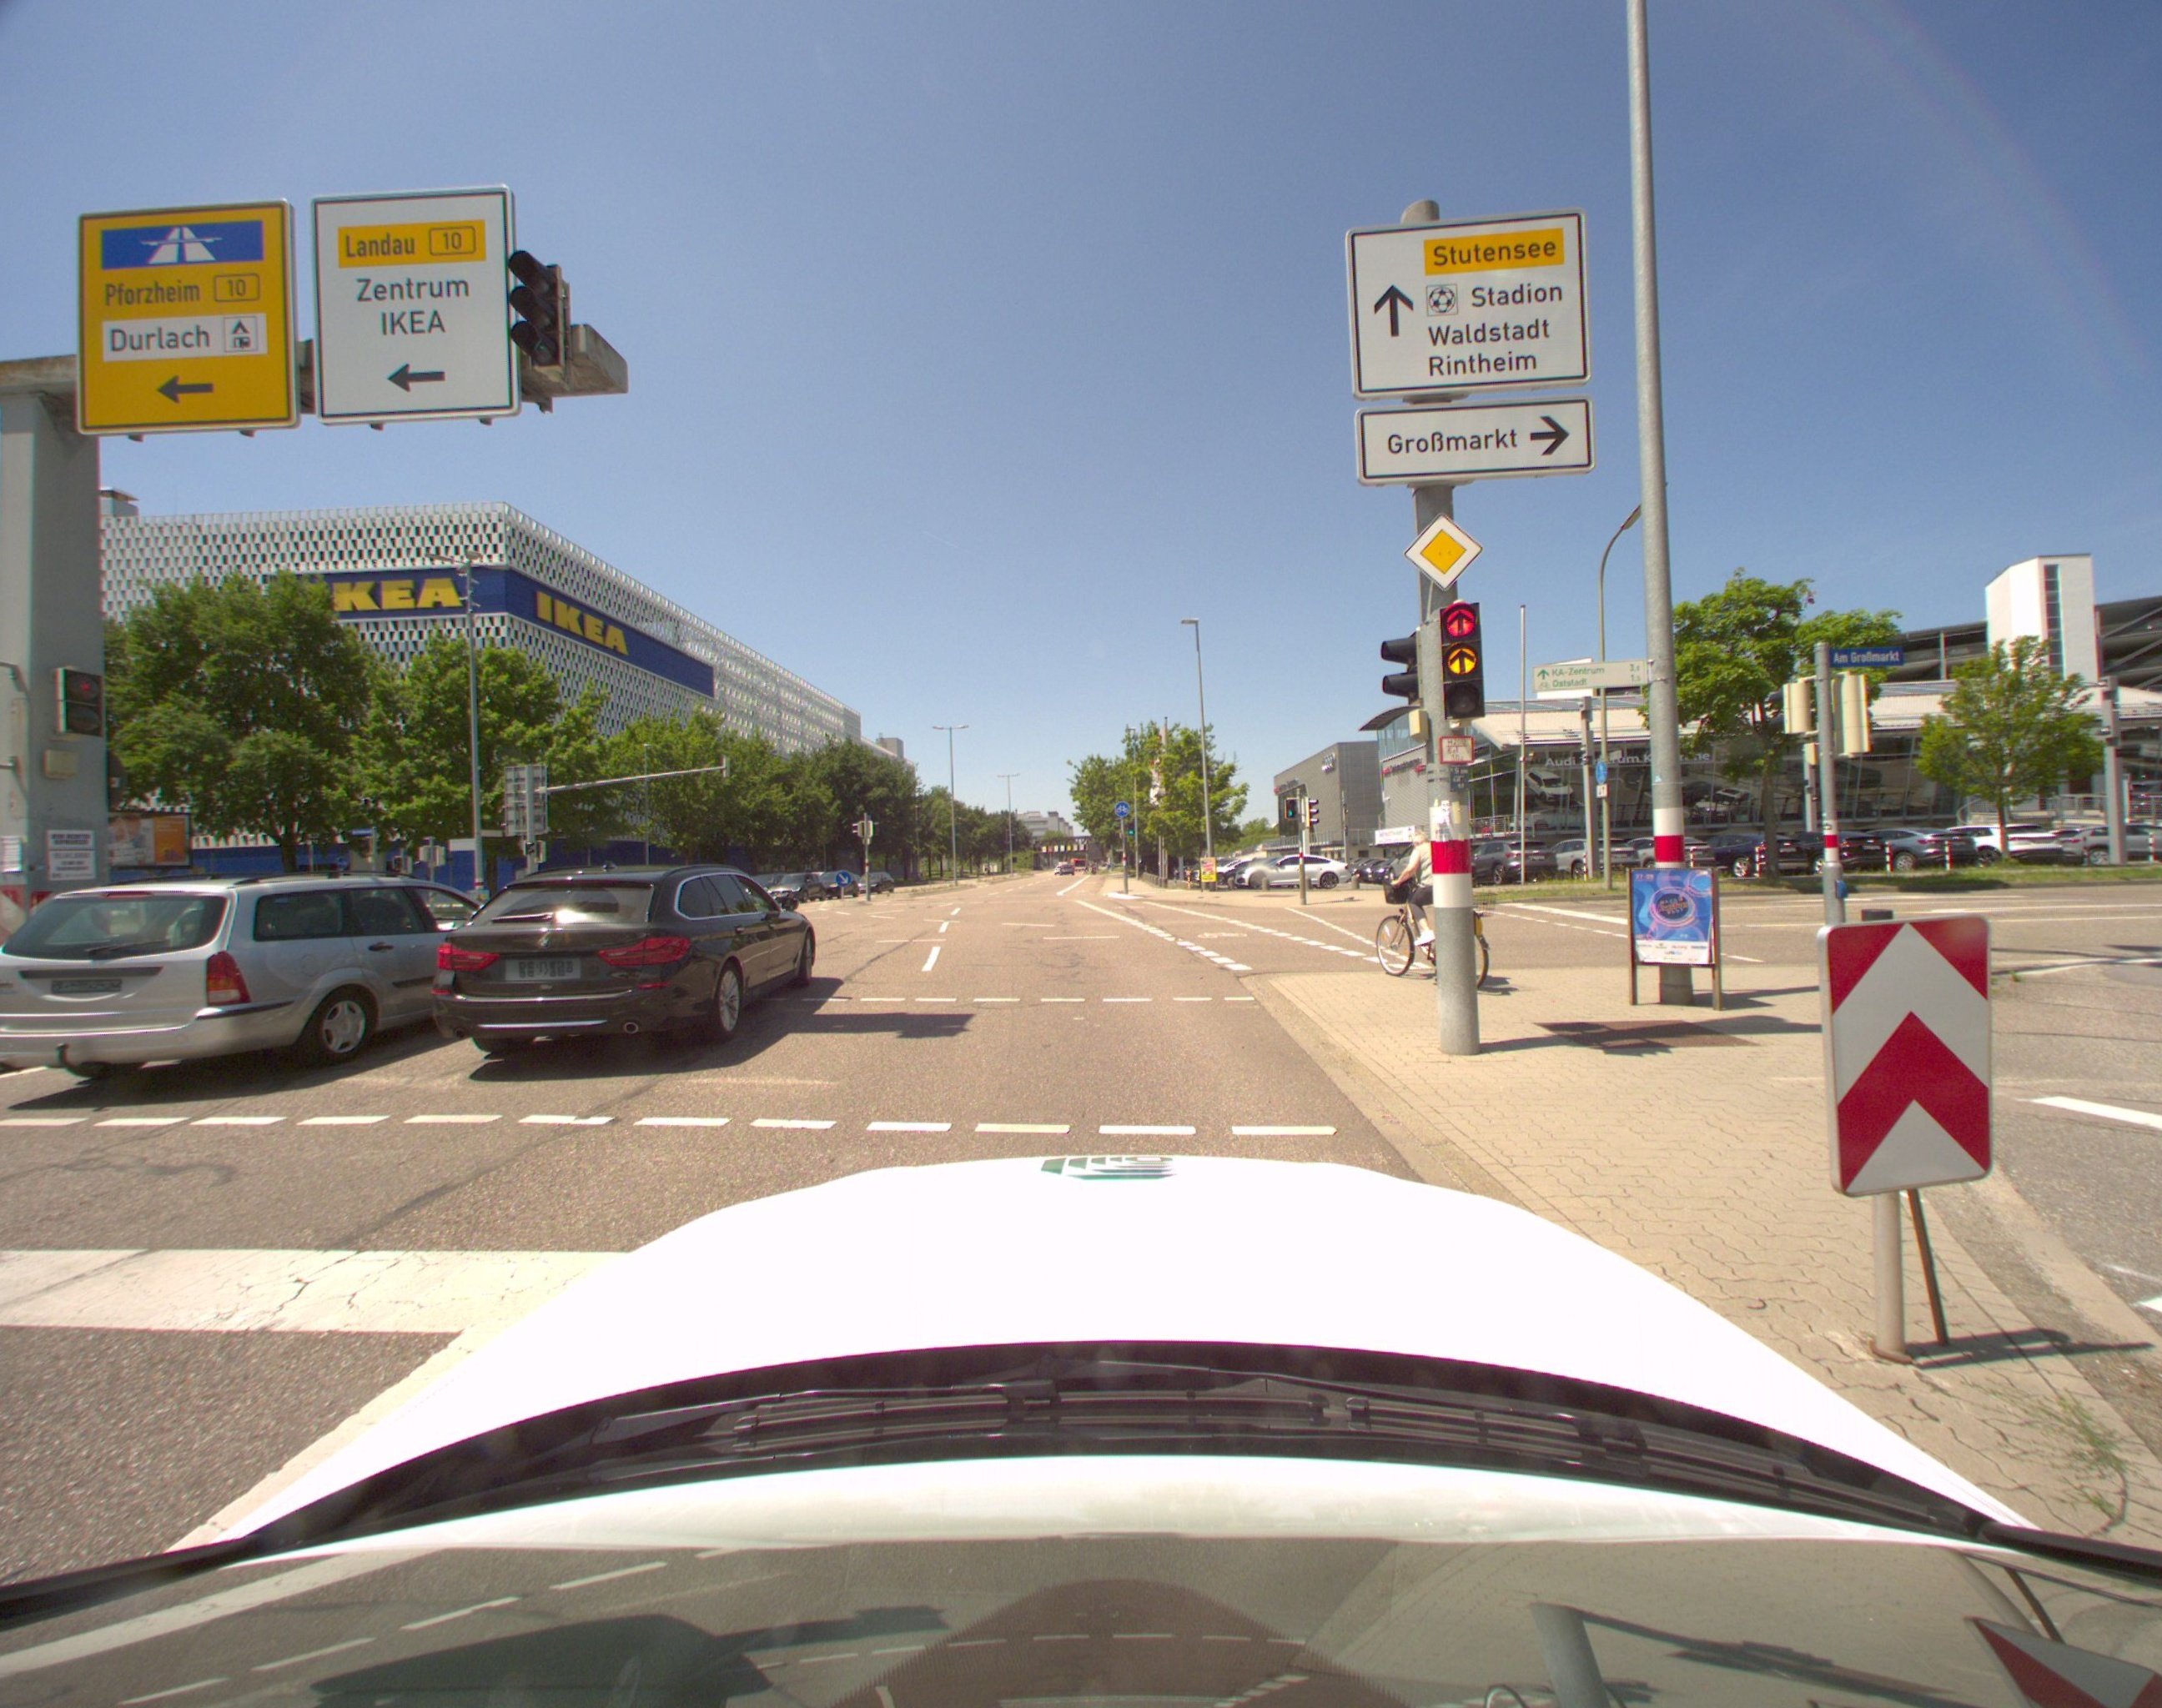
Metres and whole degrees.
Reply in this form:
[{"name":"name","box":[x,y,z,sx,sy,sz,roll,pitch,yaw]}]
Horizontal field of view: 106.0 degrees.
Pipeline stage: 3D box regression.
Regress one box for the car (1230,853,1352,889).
[{"name":"car","box":[8.468,0.692,33.199,4.572,1.390,1.871,0,-1,3]}]

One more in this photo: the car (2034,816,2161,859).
[{"name":"car","box":[39.518,-0.638,30.502,4.531,1.471,1.925,-3,-1,26]}]

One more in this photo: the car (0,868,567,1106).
[{"name":"car","box":[-6.612,0.882,7.192,1.688,1.422,4.005,-1,0,-2]}]

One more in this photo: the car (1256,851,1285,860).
[{"name":"car","box":[27.022,0.199,116.081,3.716,1.130,1.682,0,-1,-3]}]

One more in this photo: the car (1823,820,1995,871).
[{"name":"car","box":[28.519,-0.246,28.251,1.840,1.654,3.994,0,-1,-2]}]

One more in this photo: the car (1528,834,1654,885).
[{"name":"car","box":[17.858,0.198,28.735,1.840,1.654,3.994,0,-1,-2]}]

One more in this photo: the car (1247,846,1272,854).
[{"name":"car","box":[27.251,-0.572,124.494,3.515,1.239,1.675,0,-1,-3]}]

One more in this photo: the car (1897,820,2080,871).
[{"name":"car","box":[31.183,-0.246,28.176,1.840,1.654,3.994,0,-1,-2]}]

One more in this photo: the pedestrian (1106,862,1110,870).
[{"name":"pedestrian","box":[4.720,2.137,143.262,0.621,1.374,0.564,-2,-1,0]}]

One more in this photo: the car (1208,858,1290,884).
[{"name":"car","box":[8.948,0.914,43.617,4.081,1.364,1.875,0,-1,1]}]

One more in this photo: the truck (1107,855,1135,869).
[{"name":"truck","box":[8.438,1.699,171.792,5.594,2.850,2.616,0,-1,-9]}]

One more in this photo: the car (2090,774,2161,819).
[{"name":"car","box":[45.753,-2.472,34.013,4.552,1.707,1.916,-2,-1,4]}]

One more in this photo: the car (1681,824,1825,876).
[{"name":"car","box":[23.126,-0.114,28.229,1.624,1.654,3.907,-1,-1,-2]}]

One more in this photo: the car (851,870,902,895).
[{"name":"car","box":[-13.281,1.802,53.086,1.718,1.446,4.725,-4,-1,4]}]

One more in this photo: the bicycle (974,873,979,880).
[{"name":"bicycle","box":[-17.504,3.837,136.458,0.635,1.134,1.970,-2,-1,1]}]

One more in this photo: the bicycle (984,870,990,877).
[{"name":"bicycle","box":[-15.964,3.298,138.246,0.737,1.125,2.433,-2,-1,-1]}]

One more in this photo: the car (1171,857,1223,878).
[{"name":"car","box":[8.532,0.998,60.228,3.668,1.453,1.834,0,-1,1]}]

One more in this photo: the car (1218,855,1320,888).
[{"name":"car","box":[8.183,0.753,35.742,4.081,1.390,1.869,0,-1,1]}]

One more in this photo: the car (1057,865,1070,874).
[{"name":"car","box":[-2.735,2.423,126.944,1.917,1.420,4.000,-2,-1,1]}]

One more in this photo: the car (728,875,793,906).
[{"name":"car","box":[-16.812,1.880,42.928,1.654,1.424,4.039,-3,-1,2]}]

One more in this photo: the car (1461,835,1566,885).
[{"name":"car","box":[15.074,0.216,28.649,1.836,1.654,4.003,0,-1,5]}]

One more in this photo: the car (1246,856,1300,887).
[{"name":"car","box":[9.315,0.827,39.829,1.855,1.420,4.667,0,-1,4]}]

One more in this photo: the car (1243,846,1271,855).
[{"name":"car","box":[27.813,-0.574,128.863,3.977,1.312,1.795,0,-1,-3]}]

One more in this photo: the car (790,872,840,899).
[{"name":"car","box":[-16.669,1.942,51.182,1.720,1.544,3.916,-3,-1,2]}]

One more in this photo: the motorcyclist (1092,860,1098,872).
[{"name":"motorcyclist","box":[1.829,1.556,106.133,0.719,1.529,0.868,0,-1,-8]}]

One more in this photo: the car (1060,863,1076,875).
[{"name":"car","box":[-1.612,1.932,105.354,1.894,1.376,4.232,-2,-1,1]}]

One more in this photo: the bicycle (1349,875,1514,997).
[{"name":"bicycle","box":[3.788,0.826,8.989,0.629,1.133,1.885,-2,0,-14]}]

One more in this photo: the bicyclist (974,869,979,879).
[{"name":"bicyclist","box":[-17.523,3.327,136.396,0.635,1.582,0.884,-2,-1,1]}]

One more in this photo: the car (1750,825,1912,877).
[{"name":"car","box":[25.827,-0.068,28.252,1.840,1.654,3.994,0,-1,-2]}]

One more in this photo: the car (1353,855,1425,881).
[{"name":"car","box":[19.517,0.875,51.629,3.967,1.573,1.634,0,-1,1]}]

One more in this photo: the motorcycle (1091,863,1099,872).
[{"name":"motorcycle","box":[1.839,1.756,106.069,0.716,1.105,1.825,0,-1,-8]}]

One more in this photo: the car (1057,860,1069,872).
[{"name":"car","box":[-3.112,2.114,142.142,1.986,2.014,4.000,-2,-1,1]}]

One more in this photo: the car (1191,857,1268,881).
[{"name":"car","box":[8.424,0.838,46.403,4.084,1.349,1.869,0,-1,1]}]

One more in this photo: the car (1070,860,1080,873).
[{"name":"car","box":[-1.501,3.036,196.516,2.065,2.854,6.765,-2,-1,1]}]

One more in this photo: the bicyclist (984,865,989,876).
[{"name":"bicyclist","box":[-15.973,2.784,138.123,0.743,1.686,0.951,-2,-1,-1]}]

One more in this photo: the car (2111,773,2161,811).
[{"name":"car","box":[53.547,-3.127,39.446,1.905,1.722,4.142,-2,0,-5]}]

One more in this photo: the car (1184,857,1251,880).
[{"name":"car","box":[8.700,0.937,52.143,4.085,1.405,1.869,0,-1,1]}]

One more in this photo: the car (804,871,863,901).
[{"name":"car","box":[-13.726,1.750,45.470,1.720,1.505,4.245,-4,-1,2]}]

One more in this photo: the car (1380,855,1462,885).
[{"name":"car","box":[19.144,0.893,46.010,3.970,1.622,1.657,0,-1,1]}]

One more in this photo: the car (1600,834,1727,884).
[{"name":"car","box":[20.212,0.145,28.460,1.632,1.616,3.815,-1,1,-2]}]

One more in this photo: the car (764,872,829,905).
[{"name":"car","box":[-13.704,1.645,39.401,1.637,1.389,3.717,-4,-1,2]}]

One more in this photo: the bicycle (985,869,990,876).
[{"name":"bicycle","box":[-16.989,3.417,147.850,0.627,1.159,2.118,-4,-1,1]}]

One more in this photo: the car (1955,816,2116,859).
[{"name":"car","box":[39.907,-0.656,34.195,3.947,1.571,1.862,-3,-1,31]}]

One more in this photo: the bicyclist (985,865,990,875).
[{"name":"bicyclist","box":[-17.029,2.914,147.735,0.631,1.629,1.045,-4,-1,1]}]

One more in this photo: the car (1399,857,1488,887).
[{"name":"car","box":[19.330,0.956,43.511,3.970,1.598,1.851,0,-1,1]}]

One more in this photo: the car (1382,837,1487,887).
[{"name":"car","box":[12.411,0.335,28.931,1.860,1.558,4.506,-3,-2,3]}]

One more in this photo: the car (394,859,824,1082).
[{"name":"car","box":[-3.905,0.803,7.810,1.795,1.440,4.547,-1,0,-6]}]

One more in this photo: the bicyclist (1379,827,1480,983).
[{"name":"bicyclist","box":[3.798,0.530,8.916,0.629,1.606,0.821,0,-1,-15]}]

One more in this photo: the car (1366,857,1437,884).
[{"name":"car","box":[19.120,0.984,48.723,3.634,1.580,1.643,0,-1,1]}]

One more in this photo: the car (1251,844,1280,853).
[{"name":"car","box":[27.341,-0.840,120.770,3.930,1.211,1.715,-1,-1,-3]}]

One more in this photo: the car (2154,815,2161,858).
[{"name":"car","box":[39.445,-0.712,26.842,4.558,1.471,1.861,-3,0,26]}]

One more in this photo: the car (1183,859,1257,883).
[{"name":"car","box":[8.392,1.036,49.280,4.210,1.390,1.869,0,-1,1]}]

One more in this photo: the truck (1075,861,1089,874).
[{"name":"truck","box":[0.262,2.719,163.005,2.449,2.410,7.136,0,-1,2]}]
